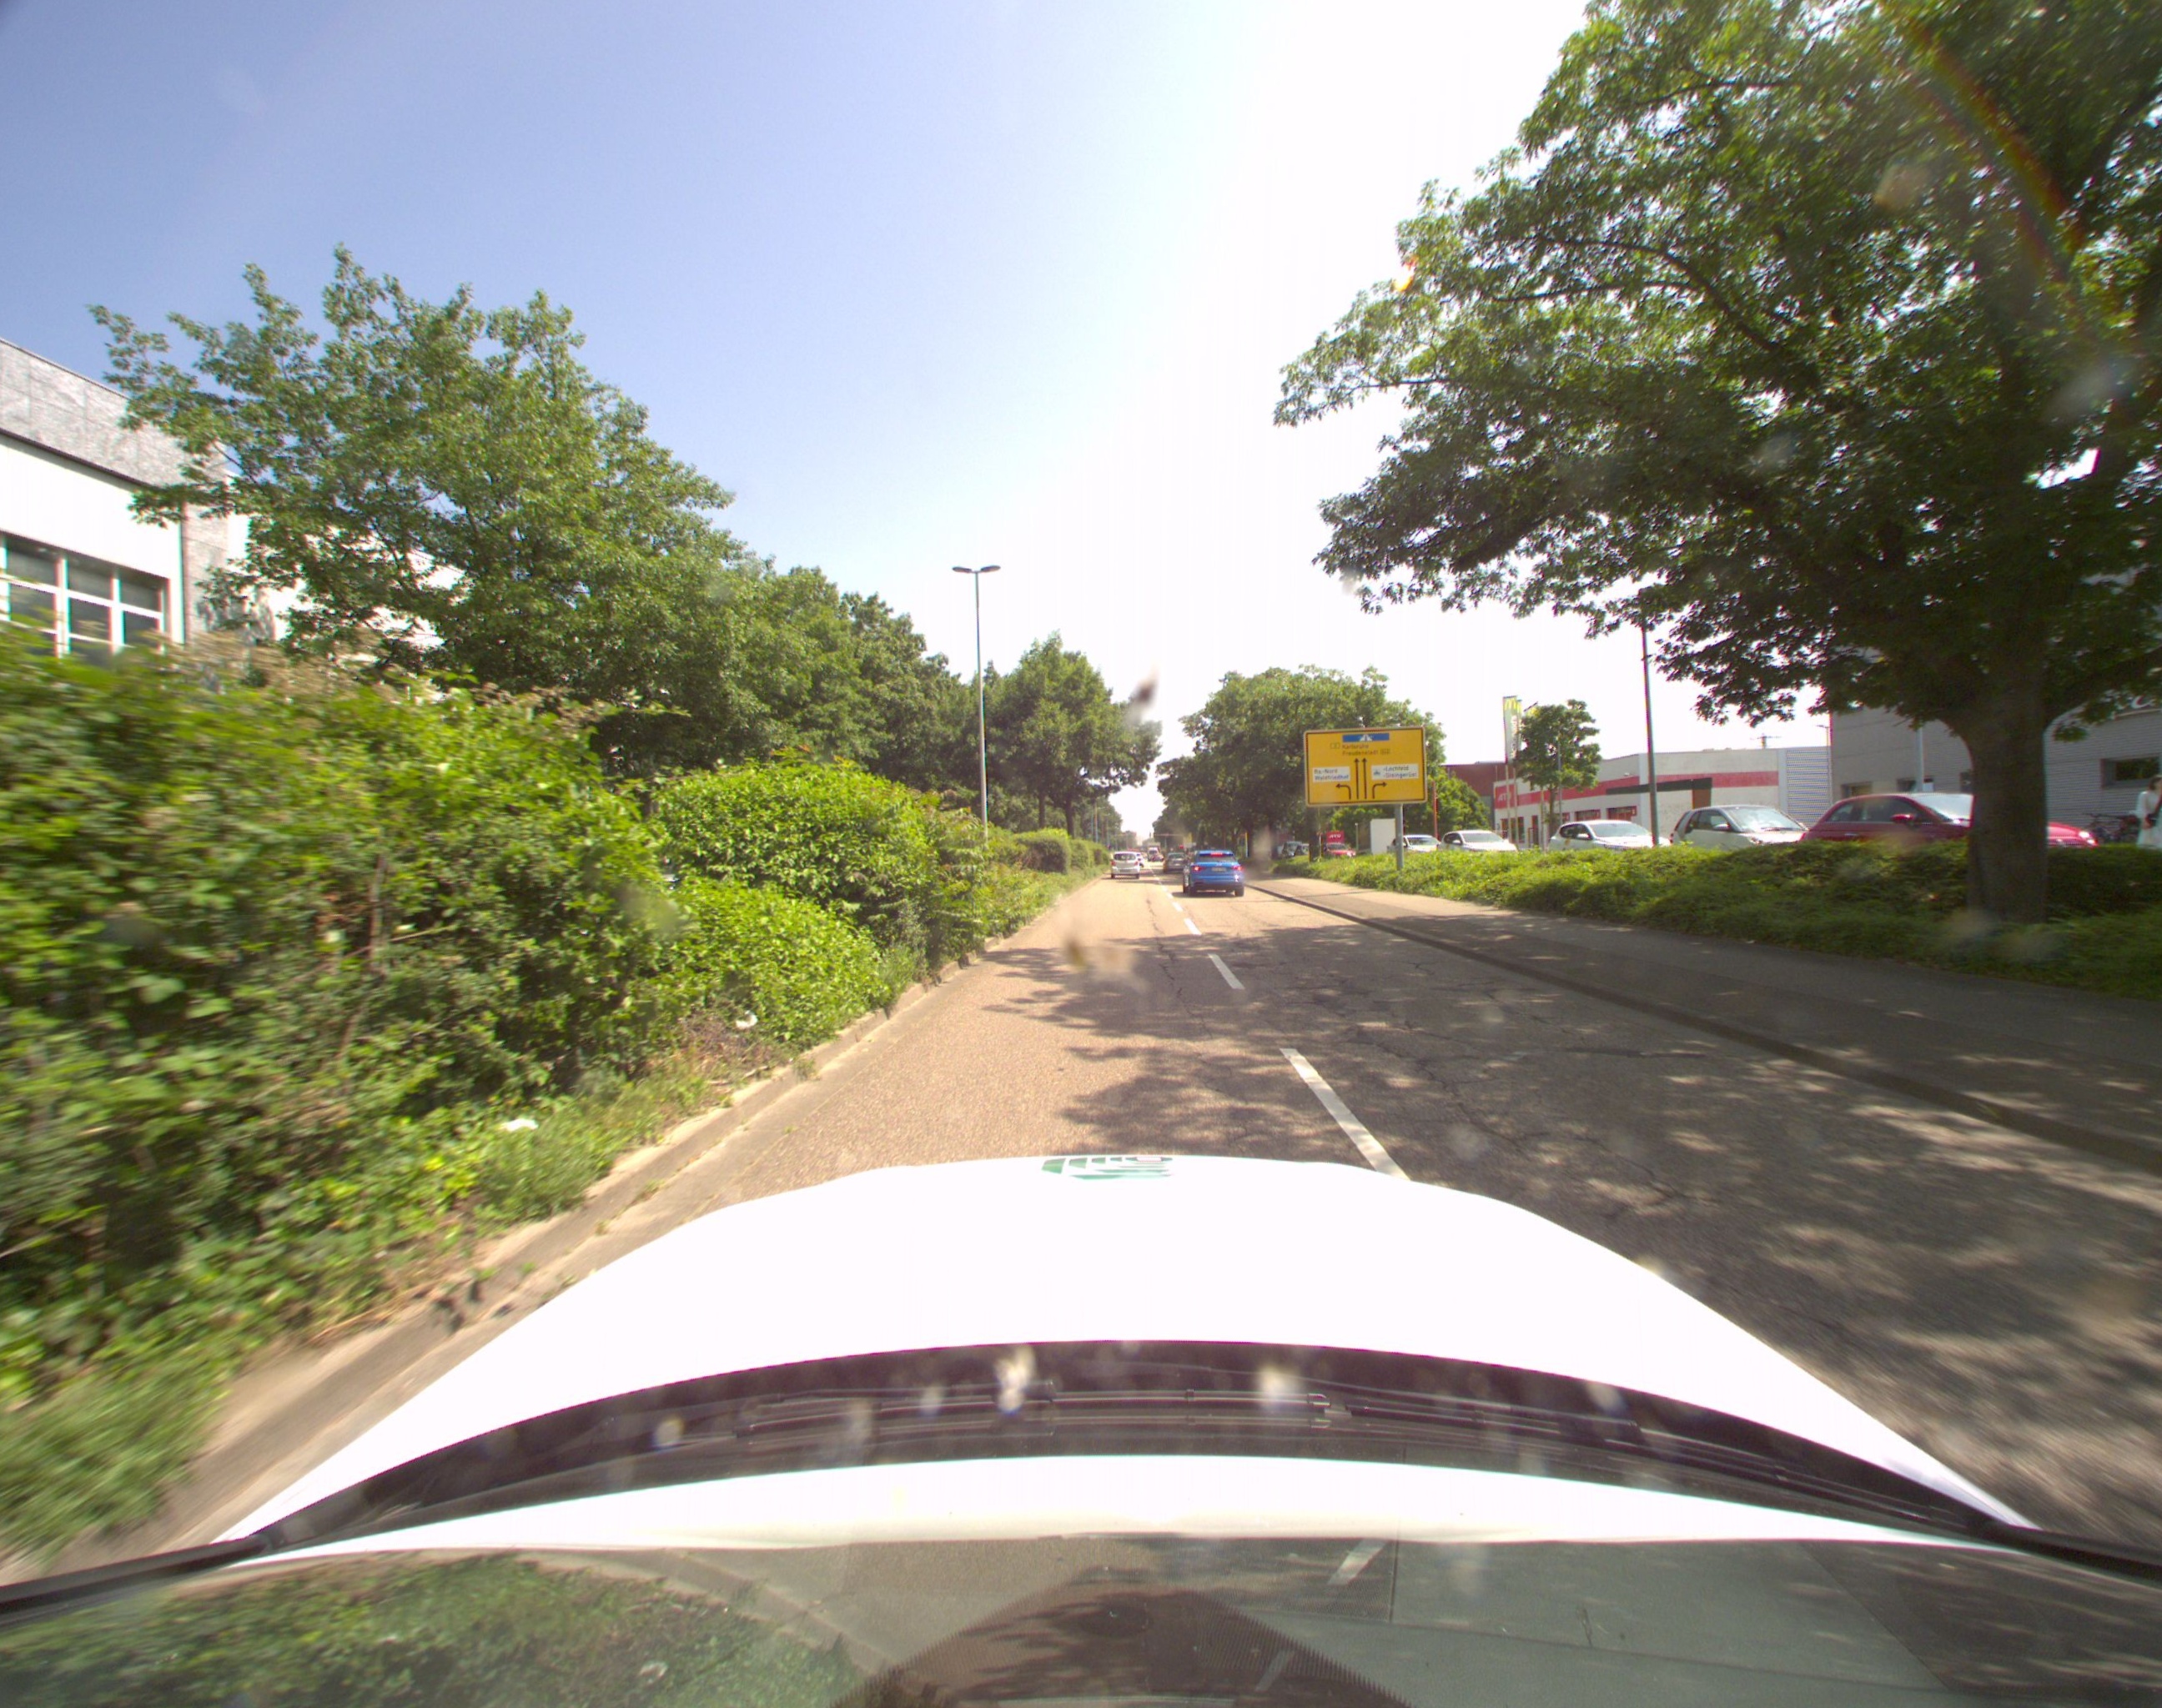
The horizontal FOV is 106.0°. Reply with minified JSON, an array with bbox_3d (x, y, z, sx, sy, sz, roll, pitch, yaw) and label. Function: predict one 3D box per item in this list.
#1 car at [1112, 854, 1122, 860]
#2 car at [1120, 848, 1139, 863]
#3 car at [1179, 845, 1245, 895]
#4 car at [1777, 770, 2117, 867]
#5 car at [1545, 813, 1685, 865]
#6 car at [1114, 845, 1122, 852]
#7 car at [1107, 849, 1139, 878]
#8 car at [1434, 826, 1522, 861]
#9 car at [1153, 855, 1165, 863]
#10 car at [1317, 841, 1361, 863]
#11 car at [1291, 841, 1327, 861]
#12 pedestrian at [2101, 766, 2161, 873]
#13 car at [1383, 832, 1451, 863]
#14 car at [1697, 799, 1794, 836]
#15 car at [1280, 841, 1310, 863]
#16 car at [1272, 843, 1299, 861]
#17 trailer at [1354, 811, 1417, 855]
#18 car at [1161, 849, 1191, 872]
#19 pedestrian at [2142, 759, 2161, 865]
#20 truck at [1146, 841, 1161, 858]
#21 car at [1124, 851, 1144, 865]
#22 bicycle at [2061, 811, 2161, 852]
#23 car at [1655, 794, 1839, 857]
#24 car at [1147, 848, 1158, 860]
[{"bbox_3d":[7.673,0.679,174.786,1.985,1.288,4.005,-2,0,4],"label":"car"},{"bbox_3d":[5.407,0.183,91.007,1.789,1.523,3.999,-1,-1,0],"label":"car"},{"bbox_3d":[4.541,0.548,28.839,1.801,1.593,4.352,-1,-1,2],"label":"car"},{"bbox_3d":[13.129,-0.457,12.736,1.610,1.253,3.771,-1,-1,7],"label":"car"},{"bbox_3d":[14.243,-0.342,21.998,1.610,1.253,3.874,-1,-1,7],"label":"car"},{"bbox_3d":[10.385,-1.529,230.234,1.986,2.013,4.001,-2,0,1],"label":"car"},{"bbox_3d":[2.375,0.543,46.590,1.633,1.552,3.324,-1,-1,0],"label":"car"},{"bbox_3d":[14.467,-0.352,29.854,1.586,1.158,3.741,-1,-1,4],"label":"car"},{"bbox_3d":[13.721,0.849,143.643,1.858,1.310,4.004,-2,0,3],"label":"car"},{"bbox_3d":[16.864,-0.137,53.465,1.693,1.380,4.328,-2,0,3],"label":"car"},{"bbox_3d":[16.680,-0.247,59.690,1.693,1.380,3.909,-2,0,3],"label":"car"},{"bbox_3d":[19.377,-0.623,14.976,0.464,1.921,0.535,-3,0,3],"label":"pedestrian"},{"bbox_3d":[14.828,-0.262,36.111,1.612,1.253,3.633,-1,-1,3],"label":"car"},{"bbox_3d":[36.252,-1.948,44.608,1.702,1.805,4.636,-2,0,4],"label":"car"},{"bbox_3d":[17.044,-0.150,65.061,1.692,1.637,3.911,-2,-1,5],"label":"car"},{"bbox_3d":[17.634,-0.150,70.474,1.691,1.424,4.663,-2,-1,7],"label":"car"},{"bbox_3d":[15.439,-1.017,41.551,1.692,2.055,5.493,-2,0,6],"label":"trailer"},{"bbox_3d":[6.635,0.462,57.363,1.857,1.473,4.004,-1,-1,4],"label":"car"},{"bbox_3d":[19.925,-0.777,14.827,0.579,1.921,0.409,-3,0,3],"label":"pedestrian"},{"bbox_3d":[15.033,-0.934,169.638,2.919,3.502,9.168,-2,0,4],"label":"truck"},{"bbox_3d":[5.109,0.392,77.795,1.876,1.354,4.004,-1,-1,4],"label":"car"},{"bbox_3d":[26.261,-0.552,20.578,0.586,0.980,2.105,-3,0,5],"label":"bicycle"},{"bbox_3d":[13.544,-0.531,16.761,1.501,1.122,2.857,-1,-1,2],"label":"car"},{"bbox_3d":[13.894,-0.092,159.320,1.985,2.255,4.005,-2,0,4],"label":"car"}]
